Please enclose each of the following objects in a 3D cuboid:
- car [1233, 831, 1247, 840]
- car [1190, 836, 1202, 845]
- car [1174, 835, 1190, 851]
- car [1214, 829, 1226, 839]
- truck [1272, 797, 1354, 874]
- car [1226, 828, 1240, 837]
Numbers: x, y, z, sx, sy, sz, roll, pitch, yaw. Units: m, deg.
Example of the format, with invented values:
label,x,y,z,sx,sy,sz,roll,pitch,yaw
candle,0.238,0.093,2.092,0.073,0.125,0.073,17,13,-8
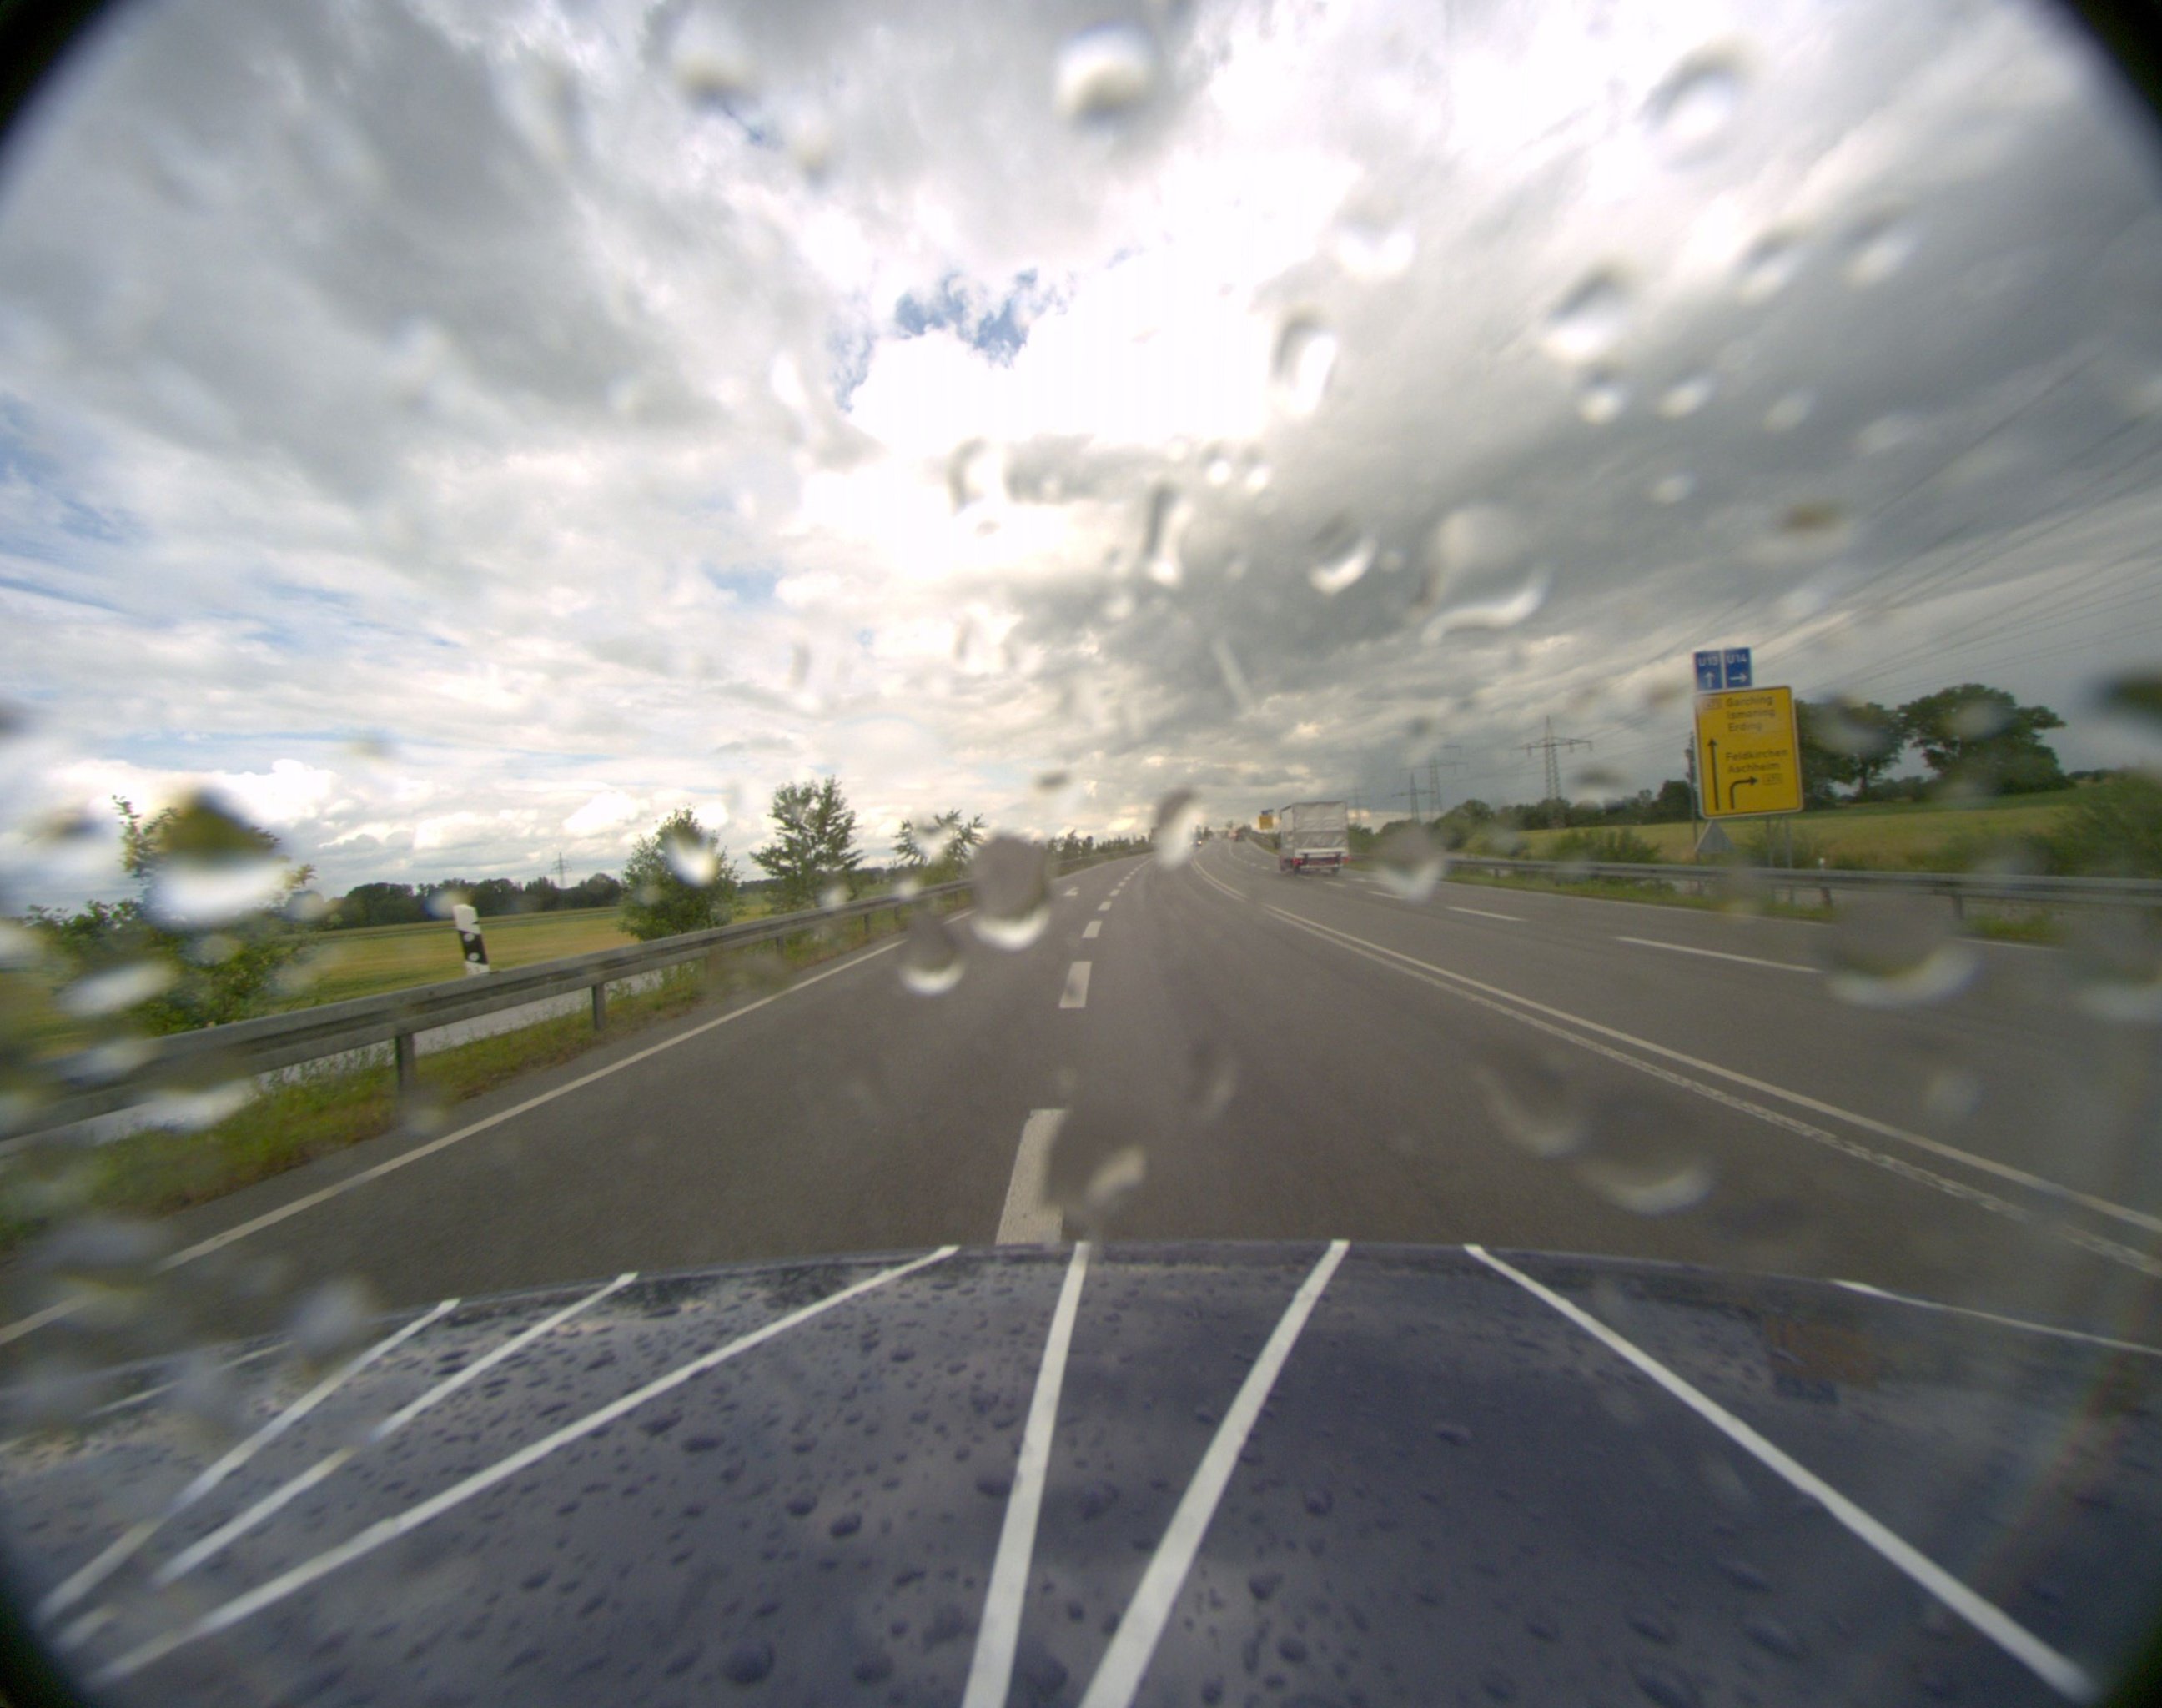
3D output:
label,x,y,z,sx,sy,sz,roll,pitch,yaw
car,27.347,-3.181,130.398,1.899,1.433,4.904,-4,1,15
car,20.530,-2.346,135.112,1.747,1.488,4.054,-4,-1,13
car,12.525,-1.366,94.330,1.795,1.758,4.002,-4,-1,7
car,27.212,-3.921,148.510,1.793,1.656,4.374,-5,1,16
truck,10.973,-0.811,36.659,2.485,3.273,7.284,-1,0,7
car,35.323,-5.025,176.396,1.945,1.651,4.651,-4,2,24
